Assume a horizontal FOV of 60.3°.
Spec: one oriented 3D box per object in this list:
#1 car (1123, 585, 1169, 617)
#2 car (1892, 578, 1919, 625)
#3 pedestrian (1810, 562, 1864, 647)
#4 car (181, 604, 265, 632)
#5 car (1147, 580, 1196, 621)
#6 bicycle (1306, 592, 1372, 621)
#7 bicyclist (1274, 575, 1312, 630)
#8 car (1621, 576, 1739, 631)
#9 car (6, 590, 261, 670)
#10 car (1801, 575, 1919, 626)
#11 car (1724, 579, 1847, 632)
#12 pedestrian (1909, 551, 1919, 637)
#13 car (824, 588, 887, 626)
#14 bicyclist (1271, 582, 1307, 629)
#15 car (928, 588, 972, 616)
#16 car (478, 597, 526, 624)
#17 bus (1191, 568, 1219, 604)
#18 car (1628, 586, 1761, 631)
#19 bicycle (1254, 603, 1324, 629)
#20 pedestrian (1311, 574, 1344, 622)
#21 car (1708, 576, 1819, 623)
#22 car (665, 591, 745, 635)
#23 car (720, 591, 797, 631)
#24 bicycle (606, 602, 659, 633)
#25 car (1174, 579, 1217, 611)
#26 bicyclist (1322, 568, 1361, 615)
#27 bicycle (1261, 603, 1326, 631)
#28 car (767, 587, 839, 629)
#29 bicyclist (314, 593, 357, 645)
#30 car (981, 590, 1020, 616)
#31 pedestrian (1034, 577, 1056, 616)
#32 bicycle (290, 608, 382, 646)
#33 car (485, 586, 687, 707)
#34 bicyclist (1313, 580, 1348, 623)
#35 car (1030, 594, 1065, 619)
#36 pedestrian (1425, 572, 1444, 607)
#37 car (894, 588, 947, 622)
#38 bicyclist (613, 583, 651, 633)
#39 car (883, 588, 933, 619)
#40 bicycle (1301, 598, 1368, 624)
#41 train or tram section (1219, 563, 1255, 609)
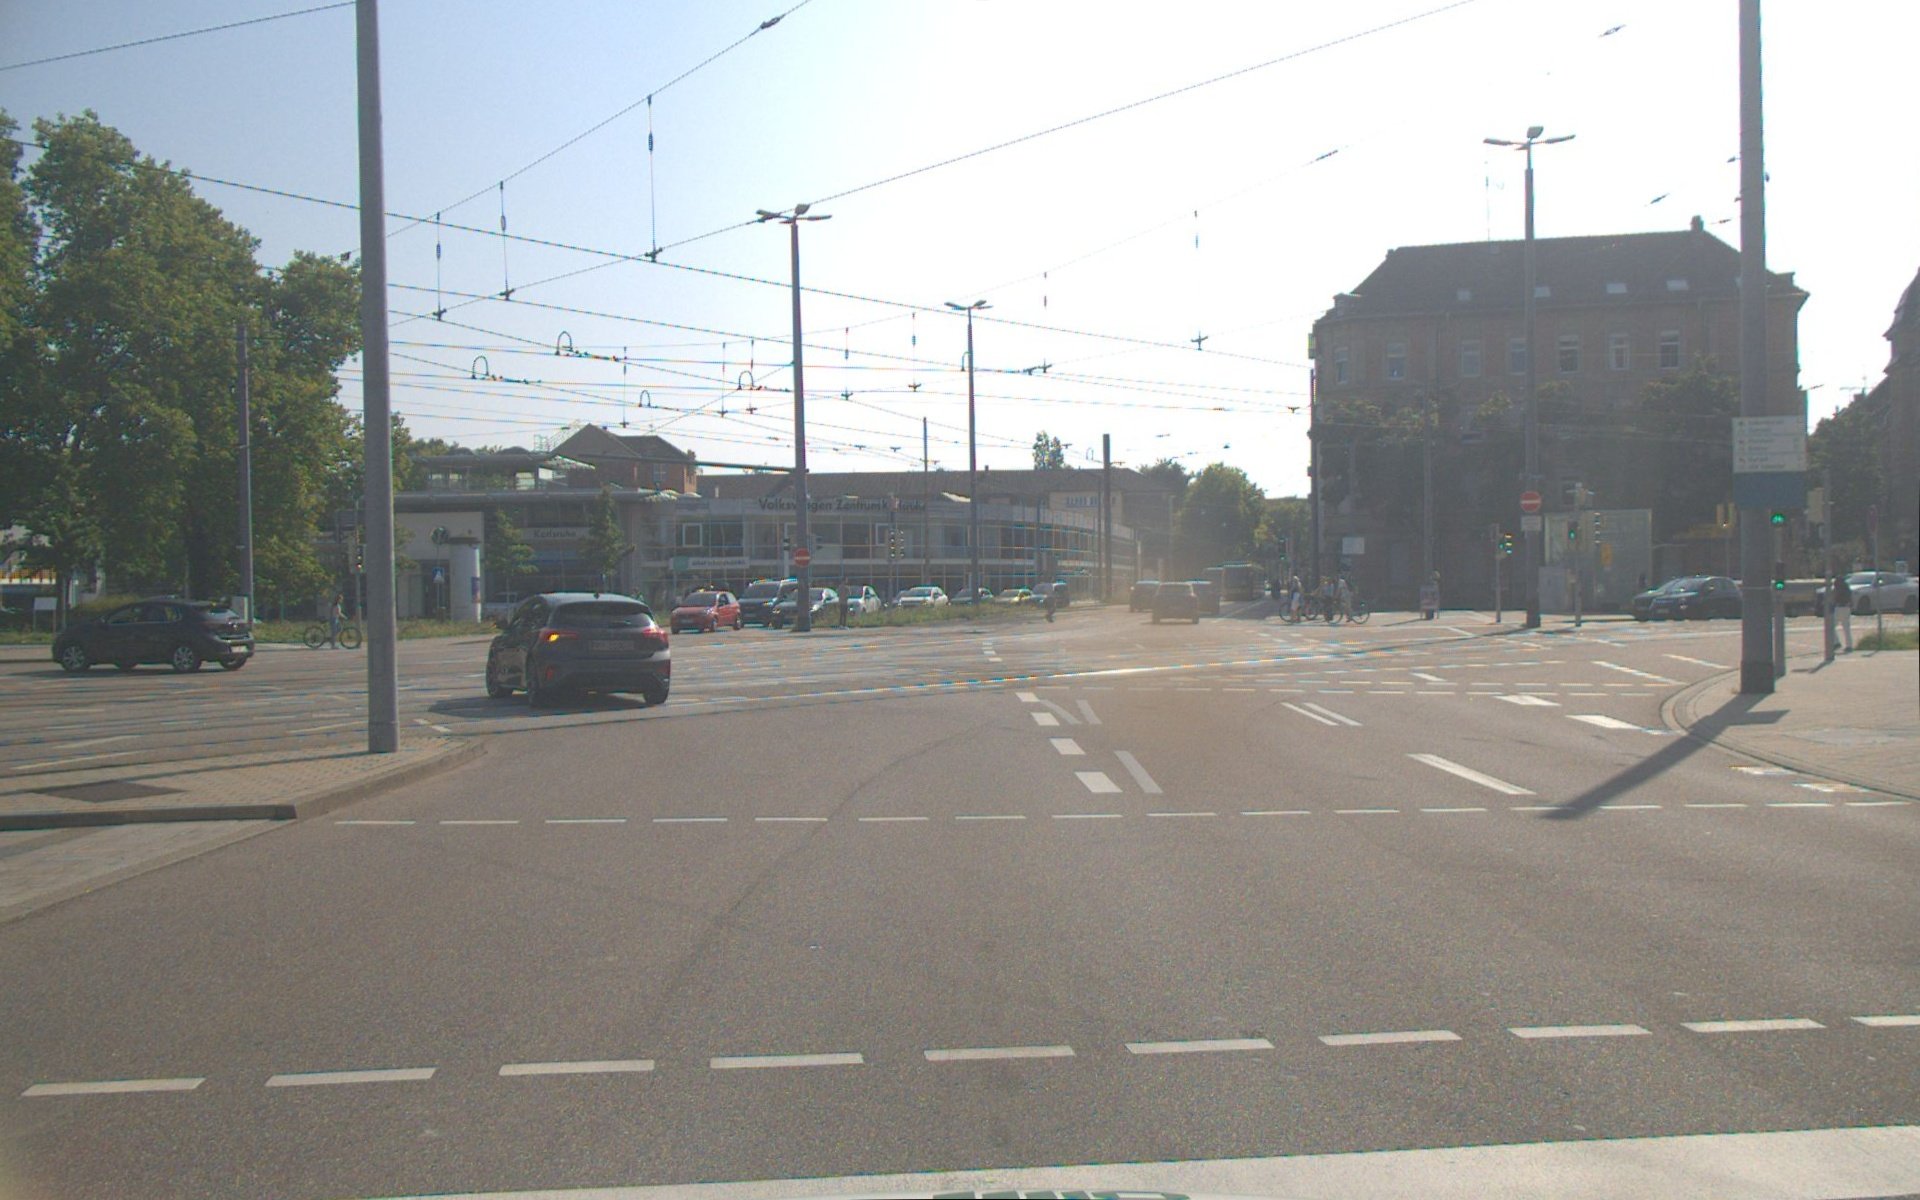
[{"bbox_3d":[9.894,0.026,87.721,1.786,1.562,4.416,-1,1,15],"label":"car"},{"bbox_3d":[40.344,0.025,67.842,4.194,1.891,1.890,-1,0,-31],"label":"car"},{"bbox_3d":[18.094,0.085,34.110,0.903,1.719,0.835,-1,0,34],"label":"pedestrian"},{"bbox_3d":[-44.109,1.056,99.066,1.667,1.549,4.509,-1,0,28],"label":"car"},{"bbox_3d":[8.165,-0.006,63.885,1.786,1.453,4.416,-1,1,7],"label":"car"},{"bbox_3d":[14.030,0.233,61.206,2.603,0.981,1.077,-1,1,-41],"label":"bicycle"},{"bbox_3d":[12.707,0.091,63.082,0.928,2.059,1.077,-1,0,-40],"label":"bicyclist"},{"bbox_3d":[26.011,0.109,59.731,4.194,1.891,1.890,-1,0,-31],"label":"car"},{"bbox_3d":[-16.689,0.586,33.548,4.270,1.518,1.687,-1,0,-2],"label":"car"},{"bbox_3d":[35.122,0.009,64.530,4.603,1.891,2.024,-1,0,-32],"label":"car"},{"bbox_3d":[30.925,0.199,61.945,4.643,1.891,1.891,-1,0,-30],"label":"car"},{"bbox_3d":[19.662,-0.132,33.241,0.904,1.719,0.921,-1,0,37],"label":"pedestrian"},{"bbox_3d":[-4.356,0.274,69.592,1.580,1.501,4.004,-3,0,12],"label":"car"},{"bbox_3d":[12.991,0.199,65.392,0.923,1.831,1.083,-1,0,-27],"label":"bicyclist"},{"bbox_3d":[-0.526,0.082,93.967,1.580,1.501,4.003,-3,0,13],"label":"car"},{"bbox_3d":[-27.342,0.583,98.812,1.664,1.549,4.100,-1,0,1],"label":"car"},{"bbox_3d":[26.591,-1.457,179.933,2.858,3.682,16.760,-1,0,8],"label":"bus"},{"bbox_3d":[24.683,0.274,55.554,4.330,1.421,2.002,-1,0,-31],"label":"car"},{"bbox_3d":[13.010,0.627,65.404,2.588,0.981,1.083,-1,0,-28],"label":"bicycle"},{"bbox_3d":[14.316,-0.071,64.429,0.921,1.828,0.846,-1,0,-44],"label":"pedestrian"},{"bbox_3d":[33.852,-0.031,69.672,4.201,1.891,1.918,-1,0,-23],"label":"car"},{"bbox_3d":[-9.326,0.449,60.782,1.580,1.501,4.004,-3,0,12],"label":"car"},{"bbox_3d":[-8.248,0.415,67.989,1.918,1.501,4.004,-3,0,12],"label":"car"},{"bbox_3d":[-11.998,0.627,60.689,0.937,1.075,2.610,-1,0,13],"label":"bicycle"},{"bbox_3d":[11.411,-0.253,80.025,1.786,1.453,4.416,-1,1,11],"label":"car"},{"bbox_3d":[14.144,-0.323,61.310,0.928,1.738,1.077,-1,0,-40],"label":"bicyclist"},{"bbox_3d":[12.751,0.644,63.110,2.603,0.981,1.077,-1,1,-41],"label":"bicycle"},{"bbox_3d":[-5.949,0.292,63.149,1.580,1.501,4.004,-3,0,12],"label":"car"},{"bbox_3d":[-19.222,0.572,50.943,1.144,1.554,0.956,0,0,-17],"label":"bicyclist"},{"bbox_3d":[2.482,0.151,101.206,1.580,1.501,4.003,-3,0,13],"label":"car"},{"bbox_3d":[3.345,-0.149,65.080,0.762,1.529,0.710,-1,0,-4],"label":"pedestrian"},{"bbox_3d":[-19.189,0.818,50.937,2.559,1.075,0.956,-1,0,-18],"label":"bicycle"},{"bbox_3d":[-5.222,0.567,22.658,1.809,1.460,4.514,-1,0,-25],"label":"car"},{"bbox_3d":[15.013,0.059,67.011,0.923,1.709,1.083,-1,0,-27],"label":"bicyclist"},{"bbox_3d":[5.701,0.414,107.300,1.580,1.501,4.003,-3,0,13],"label":"car"},{"bbox_3d":[20.560,-0.473,71.720,0.537,1.496,0.664,-1,0,42],"label":"pedestrian"},{"bbox_3d":[-1.878,0.227,79.689,1.580,1.501,4.003,-3,0,13],"label":"car"},{"bbox_3d":[-12.014,0.289,60.624,0.937,1.779,1.167,-1,0,13],"label":"bicyclist"},{"bbox_3d":[-2.704,0.165,86.984,1.580,1.501,4.003,-3,0,13],"label":"car"},{"bbox_3d":[15.185,0.429,67.107,2.588,0.981,1.083,-1,0,-28],"label":"bicycle"},{"bbox_3d":[24.043,-1.235,143.066,2.598,3.763,10.599,-1,1,12],"label":"train or tram section"}]
